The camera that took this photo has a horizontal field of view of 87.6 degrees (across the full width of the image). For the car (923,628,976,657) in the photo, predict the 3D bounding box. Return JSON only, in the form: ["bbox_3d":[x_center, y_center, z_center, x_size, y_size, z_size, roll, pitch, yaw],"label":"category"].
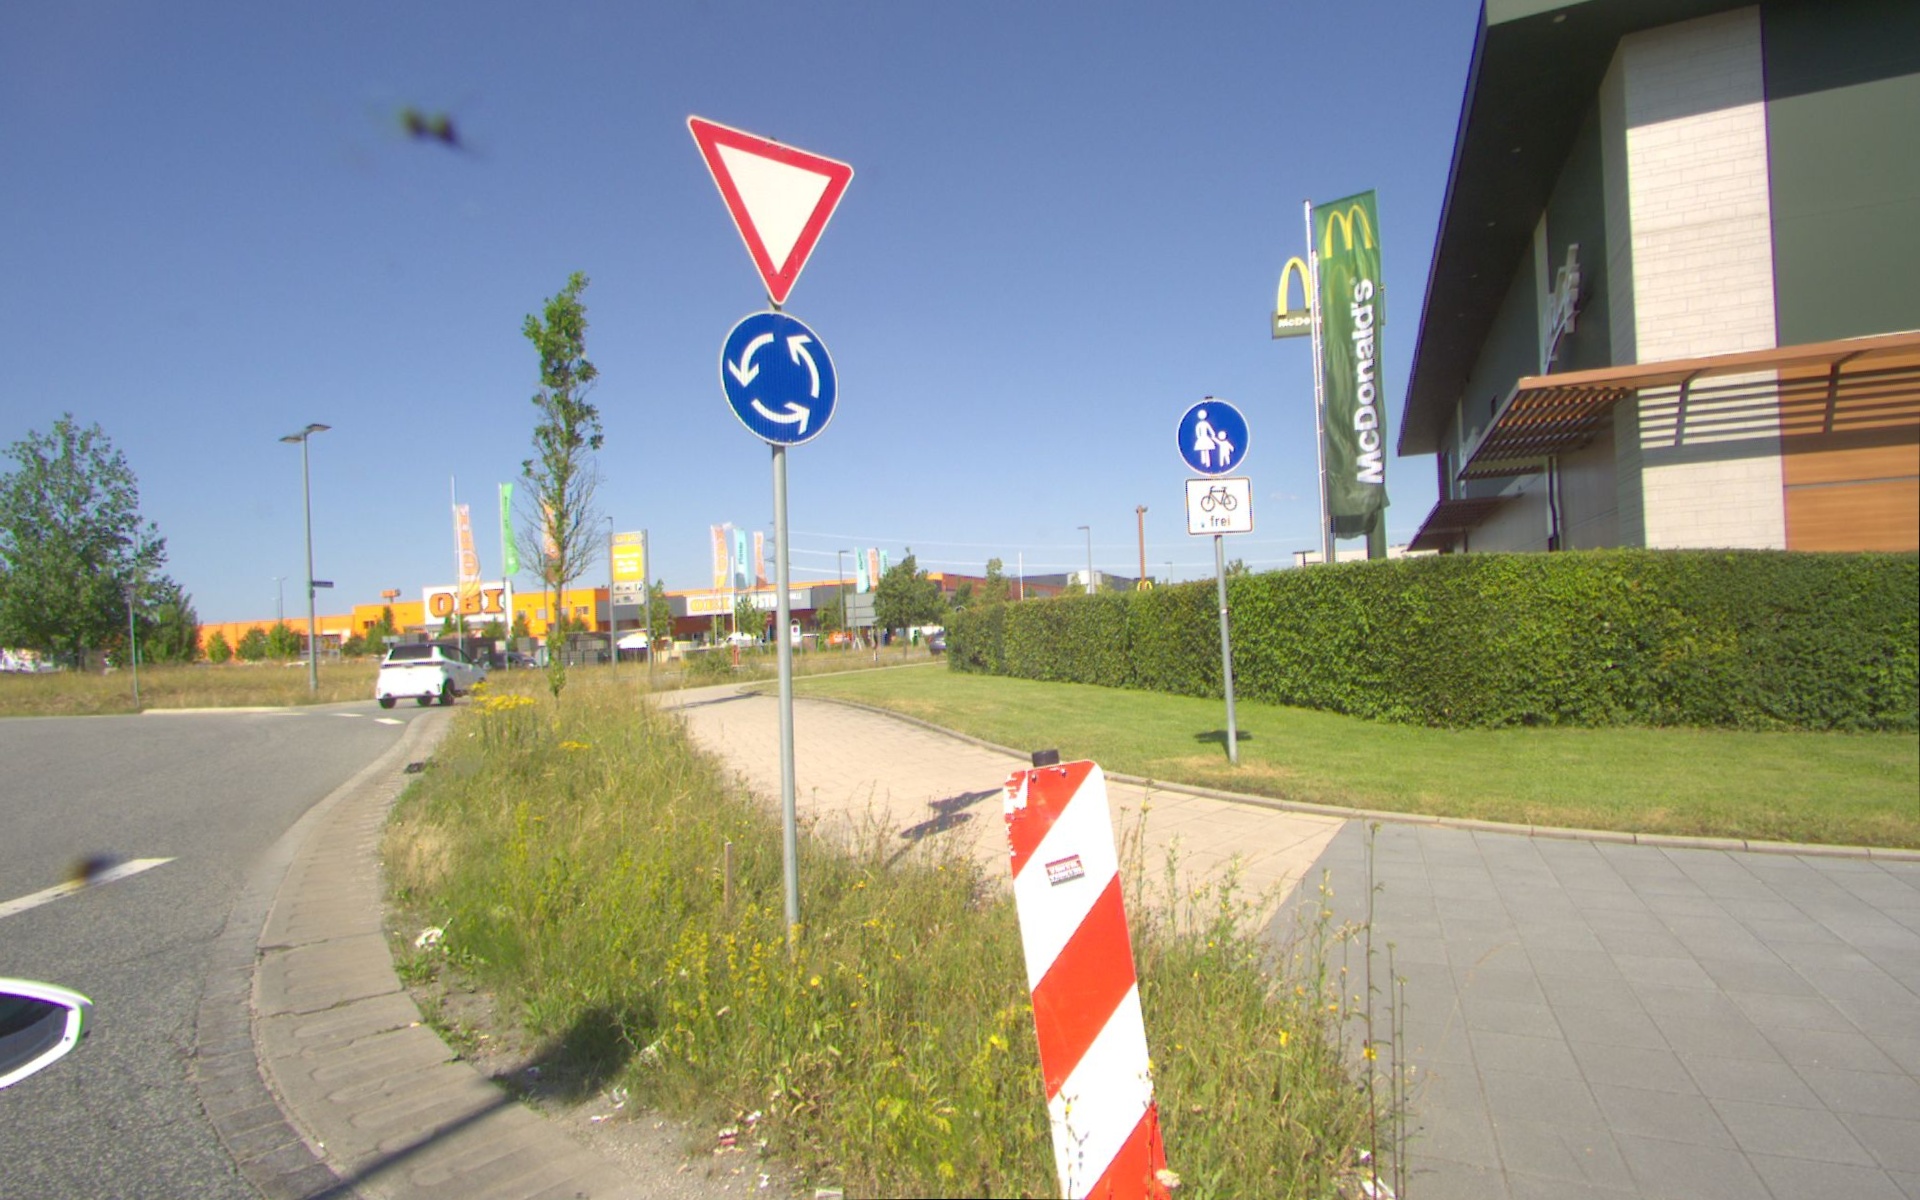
[{"bbox_3d":[-0.576,2.604,61.578,1.801,1.605,4.158,-2,-1,21],"label":"car"}]

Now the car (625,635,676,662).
[{"bbox_3d":[-22.427,3.524,72.639,1.670,1.863,3.771,-3,-3,18],"label":"car"}]

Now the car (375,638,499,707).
[{"bbox_3d":[-12.531,1.701,24.217,1.485,1.459,3.351,-2,-1,-6],"label":"car"}]
